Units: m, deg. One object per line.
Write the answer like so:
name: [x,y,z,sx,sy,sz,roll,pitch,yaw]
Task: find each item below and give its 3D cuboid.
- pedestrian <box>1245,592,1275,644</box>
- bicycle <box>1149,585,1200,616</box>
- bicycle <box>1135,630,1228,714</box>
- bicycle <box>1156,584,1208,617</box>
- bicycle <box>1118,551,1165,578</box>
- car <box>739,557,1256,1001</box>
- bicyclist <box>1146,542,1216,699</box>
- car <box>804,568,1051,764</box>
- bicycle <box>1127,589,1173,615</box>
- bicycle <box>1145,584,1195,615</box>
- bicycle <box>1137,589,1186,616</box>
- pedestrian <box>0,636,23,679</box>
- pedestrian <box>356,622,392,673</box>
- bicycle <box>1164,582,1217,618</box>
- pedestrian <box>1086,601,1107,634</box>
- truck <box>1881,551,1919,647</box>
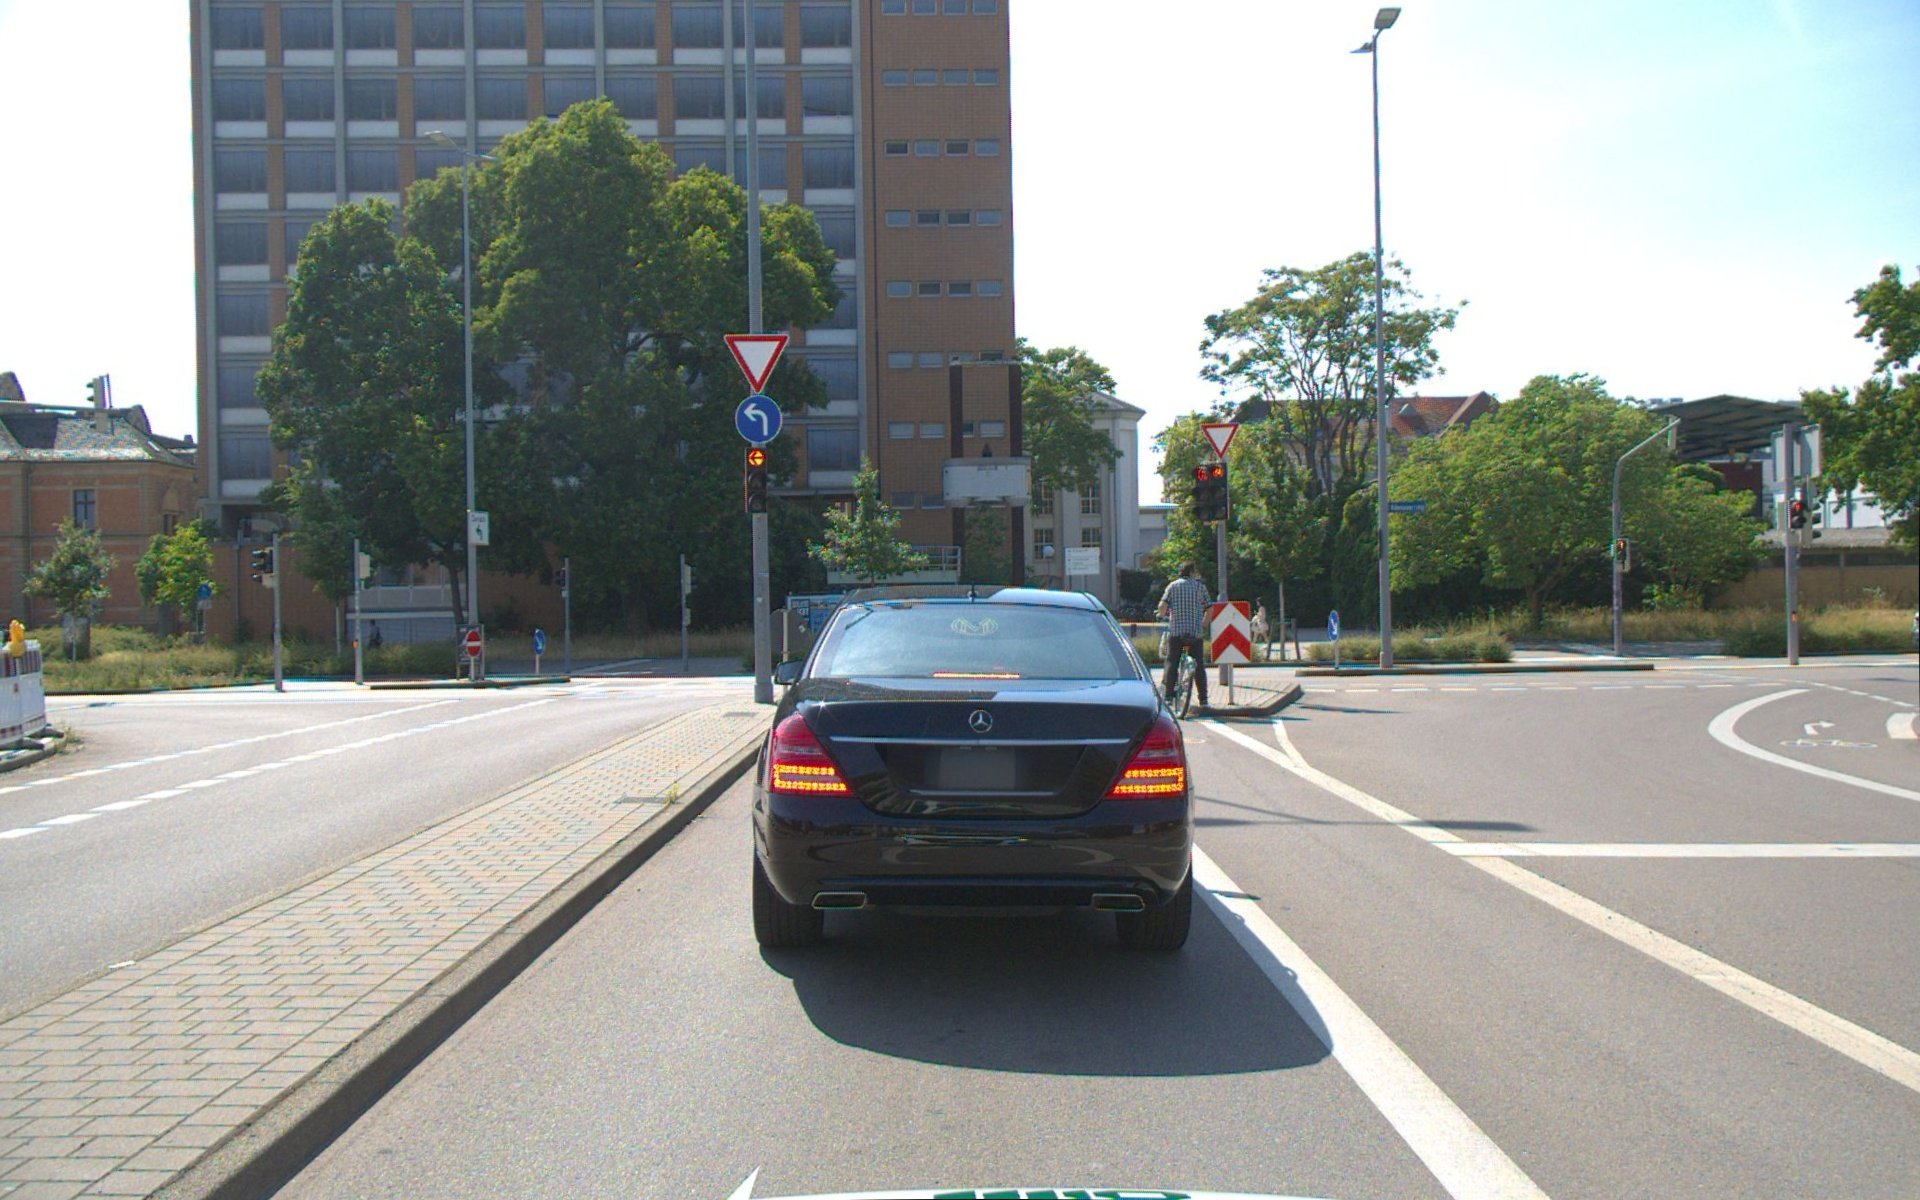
pedestrian: [9.488,0.570,52.338,0.794,1.607,0.692,-1,-1,1]
bicycle: [12.331,0.015,95.259,2.766,1.678,0.841,-2,0,-2]
bicycle: [2.738,0.878,20.652,0.679,0.963,1.955,1,0,-7]
bicycle: [12.592,0.029,93.969,2.766,1.775,0.841,-2,0,-2]
bicycle: [11.224,-2.217,102.371,2.766,1.586,0.841,-2,0,-2]
car: [0.050,0.647,8.204,1.821,1.557,4.711,1,0,-2]
bicyclist: [2.744,0.257,20.626,0.673,1.911,0.858,0,0,-7]
car: [-0.285,0.540,15.248,1.953,1.534,3.999,1,0,-1]
bicycle: [12.016,0.130,104.722,2.766,1.526,0.841,-2,0,-2]
bicycle: [12.265,-0.016,96.508,2.766,1.688,0.841,-2,1,-2]
bicycle: [11.987,0.149,98.513,2.766,1.564,0.841,-2,0,-2]
pedestrian: [-37.902,2.293,65.971,0.635,1.690,0.649,1,-1,25]
pedestrian: [-20.520,1.655,57.949,0.781,1.756,0.873,-2,-1,22]
bicycle: [12.759,0.000,91.712,2.766,1.868,0.841,-2,0,-2]
pedestrian: [5.257,0.666,63.842,0.776,1.235,0.758,1,0,6]
truck: [27.586,-0.130,42.144,6.881,2.397,2.413,-2,0,0]
